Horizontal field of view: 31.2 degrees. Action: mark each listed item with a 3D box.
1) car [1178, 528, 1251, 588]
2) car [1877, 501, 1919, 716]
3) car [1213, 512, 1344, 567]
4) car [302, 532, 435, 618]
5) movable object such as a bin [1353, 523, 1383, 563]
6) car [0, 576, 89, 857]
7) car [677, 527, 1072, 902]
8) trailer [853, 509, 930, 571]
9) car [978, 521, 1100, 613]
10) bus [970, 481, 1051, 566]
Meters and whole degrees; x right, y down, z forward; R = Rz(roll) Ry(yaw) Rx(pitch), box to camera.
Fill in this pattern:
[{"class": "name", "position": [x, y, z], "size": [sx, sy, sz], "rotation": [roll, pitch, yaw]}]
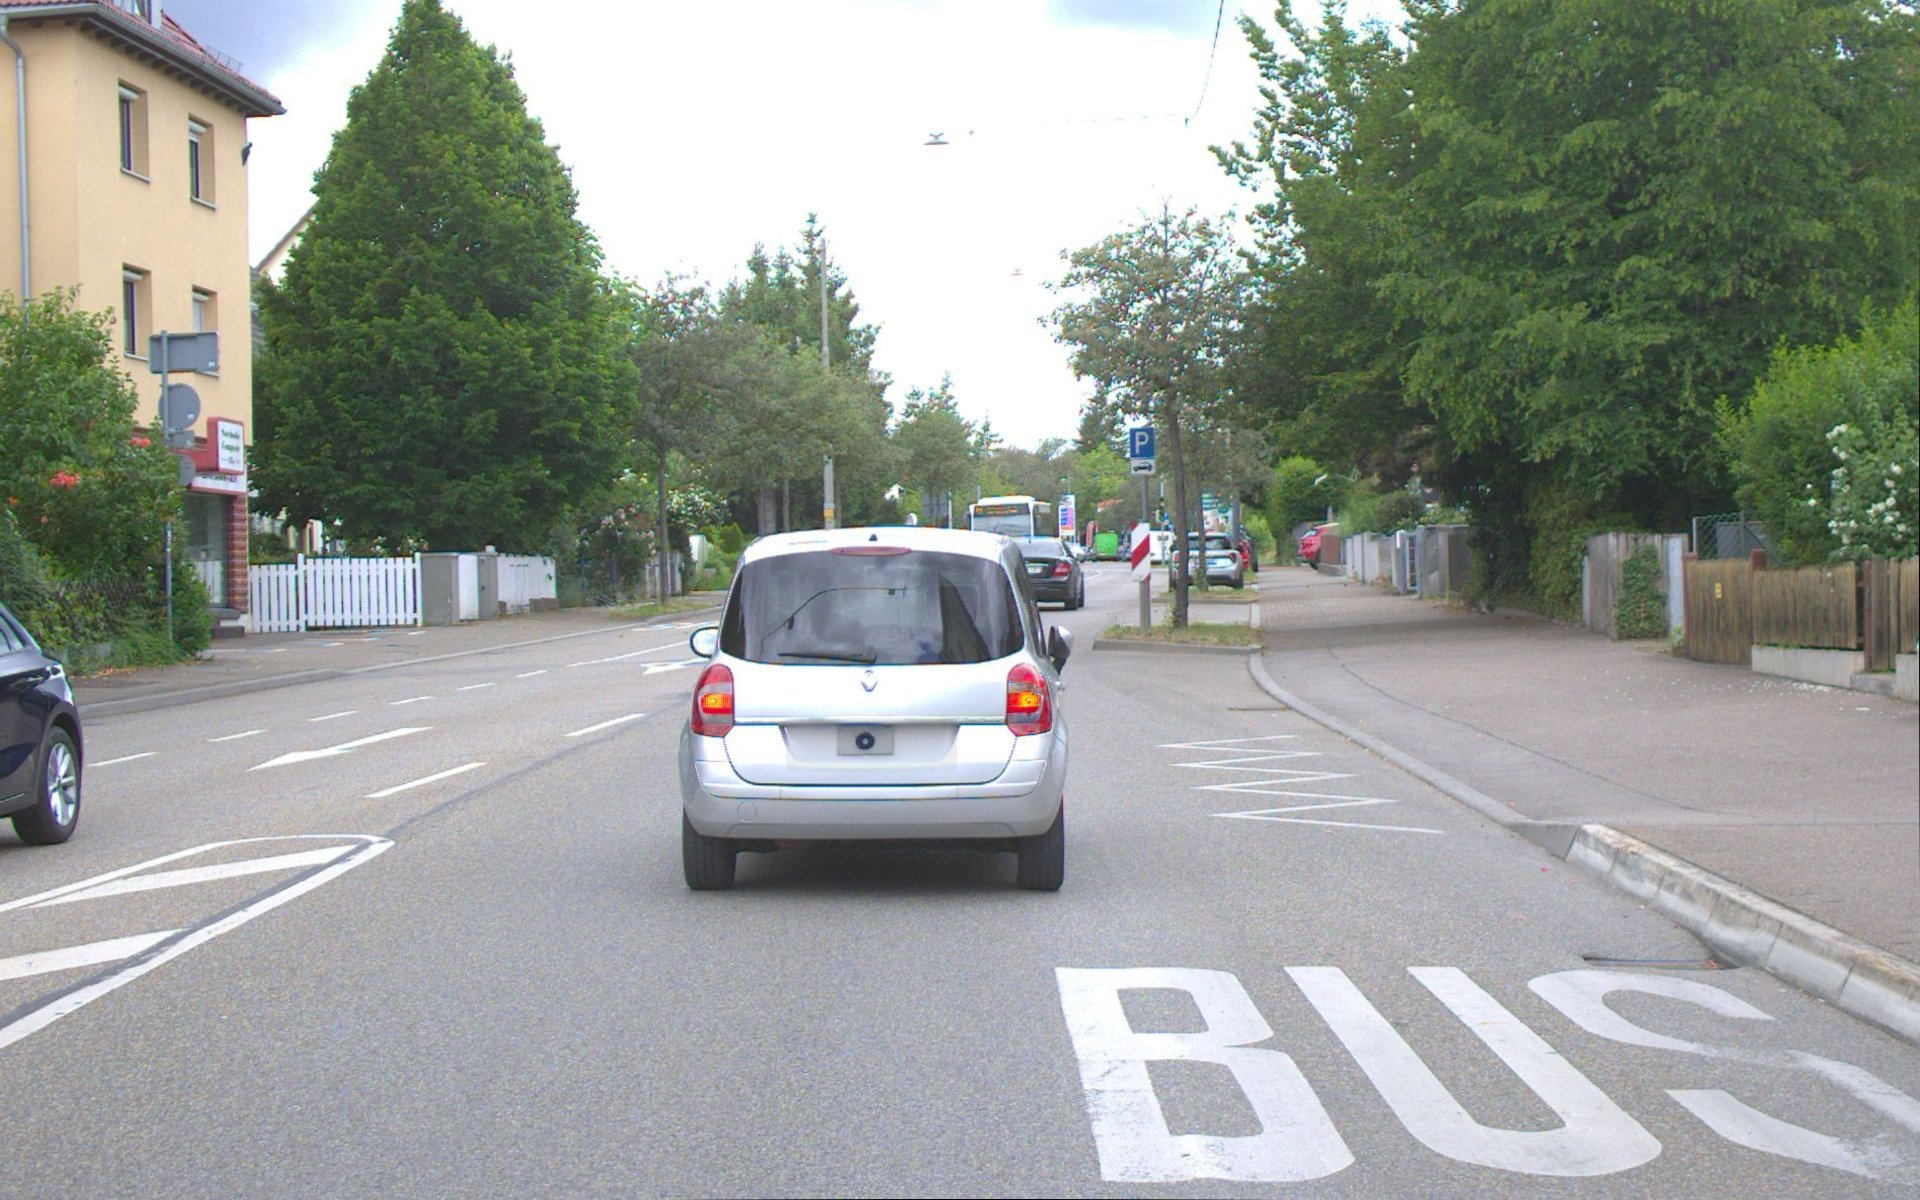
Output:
[{"class": "car", "position": [6.033, -0.975, 81.209], "size": [1.650, 1.378, 3.999], "rotation": [-1, 0, 5]}, {"class": "car", "position": [8.848, -0.054, 23.907], "size": [4.420, 1.483, 1.865], "rotation": [-3, 0, 3]}, {"class": "car", "position": [10.486, -1.994, 113.318], "size": [3.986, 1.491, 1.810], "rotation": [-4, 1, -4]}, {"class": "car", "position": [-12.063, -0.540, 70.386], "size": [1.806, 1.559, 4.618], "rotation": [-4, 1, 1]}, {"class": "movable object such as a bin", "position": [11.602, -1.621, 97.754], "size": [0.776, 1.100, 0.691], "rotation": [-2, 1, 4]}, {"class": "car", "position": [-5.662, 0.607, 16.746], "size": [1.564, 1.415, 4.130], "rotation": [-2, 0, 3]}, {"class": "car", "position": [-0.373, 0.468, 16.195], "size": [1.630, 1.551, 4.000], "rotation": [0, 0, -1]}, {"class": "trailer", "position": [-2.374, -2.070, 120.533], "size": [2.312, 2.079, 5.872], "rotation": [0, 0, 3]}, {"class": "car", "position": [1.541, -0.643, 65.617], "size": [1.830, 1.670, 3.573], "rotation": [-1, 1, 9]}, {"class": "bus", "position": [2.067, -3.005, 136.071], "size": [2.632, 3.075, 12.069], "rotation": [-3, 1, 3]}]
